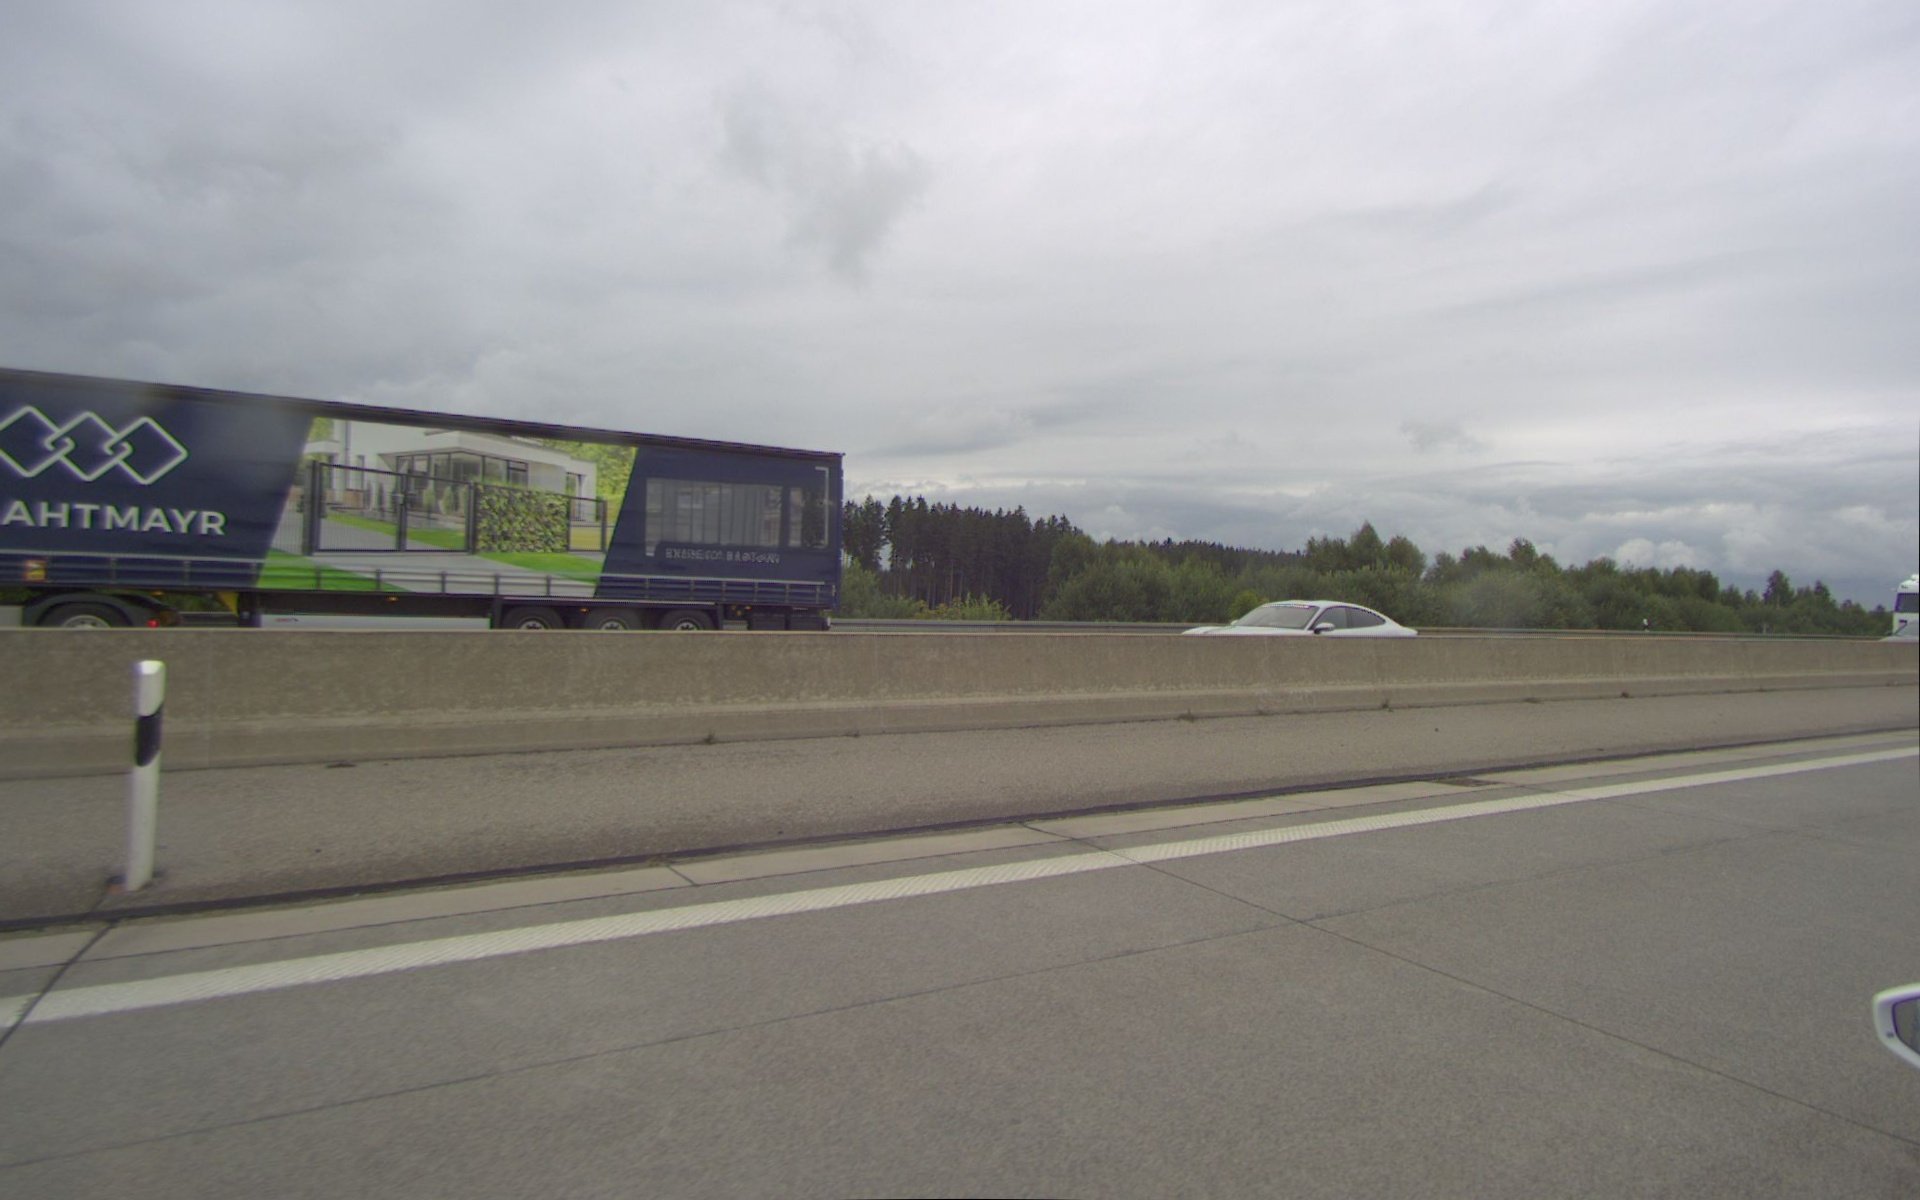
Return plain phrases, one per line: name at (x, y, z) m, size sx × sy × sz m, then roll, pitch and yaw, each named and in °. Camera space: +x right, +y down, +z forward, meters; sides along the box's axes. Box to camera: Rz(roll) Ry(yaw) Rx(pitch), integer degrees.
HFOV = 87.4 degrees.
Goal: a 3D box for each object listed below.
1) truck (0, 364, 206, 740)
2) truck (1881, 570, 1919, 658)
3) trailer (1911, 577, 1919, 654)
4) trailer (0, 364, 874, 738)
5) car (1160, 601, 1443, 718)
truck at (-14.401, -0.649, 13.970) m, size 5.800 × 4.883 × 3.570 m, roll 1°, pitch 0°, yaw -30°
truck at (50.188, 0.722, 51.188) m, size 7.053 × 4.348 × 2.869 m, roll 1°, pitch 0°, yaw -31°
trailer at (56.132, 0.889, 54.722) m, size 12.862 × 4.056 × 2.873 m, roll 1°, pitch 0°, yaw -31°
trailer at (-8.068, -0.579, 17.760) m, size 12.756 × 4.864 × 3.581 m, roll 1°, pitch 0°, yaw -31°
car at (5.660, 0.882, 16.550) m, size 4.473 × 1.684 × 1.984 m, roll 1°, pitch 0°, yaw -30°
